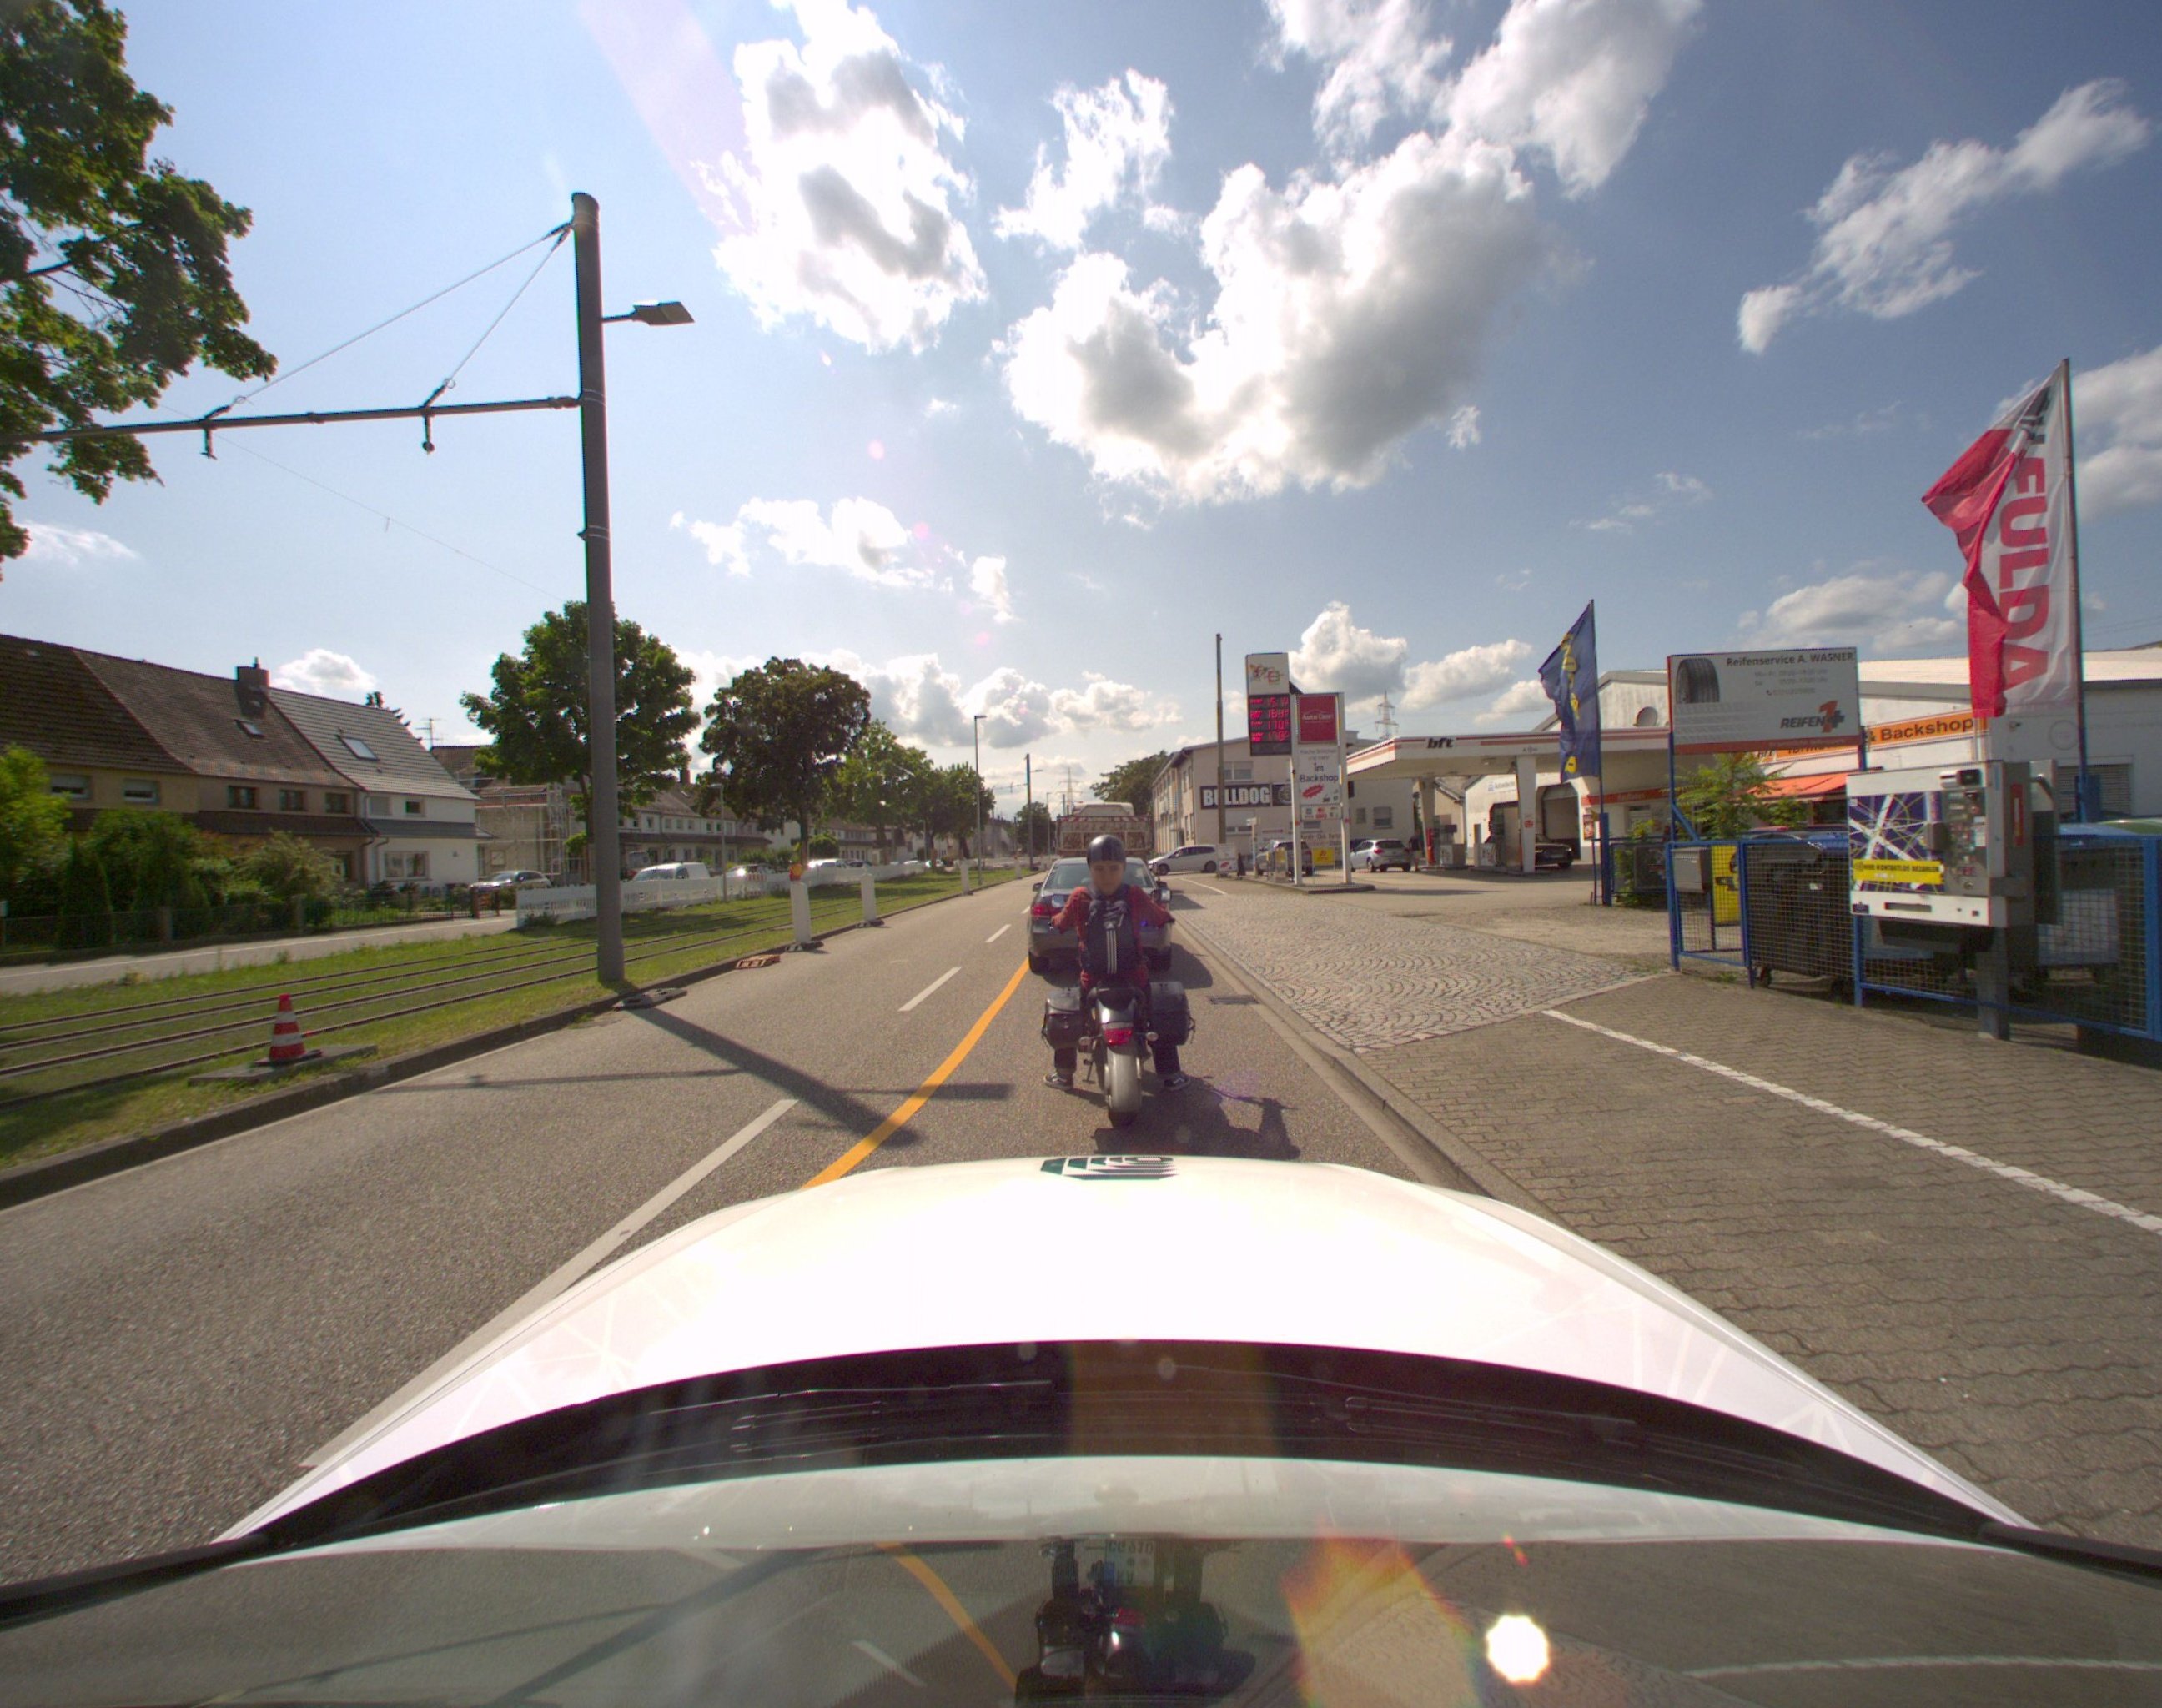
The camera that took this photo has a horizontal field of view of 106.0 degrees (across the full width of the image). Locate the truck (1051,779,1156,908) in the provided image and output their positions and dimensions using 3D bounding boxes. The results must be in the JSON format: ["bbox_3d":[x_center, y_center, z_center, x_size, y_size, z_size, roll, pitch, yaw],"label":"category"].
[{"bbox_3d":[0.723,-0.289,25.503,2.628,3.296,8.059,-2,0,2],"label":"truck"}]

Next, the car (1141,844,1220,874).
[{"bbox_3d":[5.732,0.289,47.018,4.225,1.543,1.669,-2,0,-7],"label":"car"}]

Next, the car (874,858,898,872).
[{"bbox_3d":[-25.165,1.402,105.206,1.769,1.722,4.130,-2,0,2],"label":"car"}]

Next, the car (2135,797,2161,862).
[{"bbox_3d":[26.521,-0.637,18.004,4.180,1.463,1.587,-2,0,2],"label":"car"}]

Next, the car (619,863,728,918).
[{"bbox_3d":[-15.447,1.314,31.158,1.769,1.821,4.366,-2,0,2],"label":"car"}]

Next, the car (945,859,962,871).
[{"bbox_3d":[-19.638,1.636,125.920,1.769,1.722,4.130,-2,0,2],"label":"car"}]

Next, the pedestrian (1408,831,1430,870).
[{"bbox_3d":[14.647,-0.132,35.321,0.701,1.656,0.551,-2,0,37],"label":"pedestrian"}]

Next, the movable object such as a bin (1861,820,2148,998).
[{"bbox_3d":[8.079,0.443,7.221,1.104,1.396,1.244,-2,0,1],"label":"movable object such as a bin"}]

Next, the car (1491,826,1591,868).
[{"bbox_3d":[18.138,-0.258,32.319,1.800,1.503,3.833,-2,0,0],"label":"car"}]

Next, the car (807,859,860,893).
[{"bbox_3d":[-15.068,1.327,49.864,1.769,1.867,4.130,-2,0,2],"label":"car"}]

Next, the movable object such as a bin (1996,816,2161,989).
[{"bbox_3d":[9.482,0.373,7.133,1.397,1.396,1.338,-2,0,1],"label":"movable object such as a bin"}]

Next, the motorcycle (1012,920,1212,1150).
[{"bbox_3d":[0.200,1.023,5.447,0.975,0.897,2.654,-2,0,2],"label":"motorcycle"}]

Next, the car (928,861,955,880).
[{"bbox_3d":[-13.740,1.633,80.281,1.769,1.722,4.130,-2,0,2],"label":"car"}]

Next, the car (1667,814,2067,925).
[{"bbox_3d":[11.820,0.228,12.523,4.249,1.415,1.677,-3,0,7],"label":"car"}]

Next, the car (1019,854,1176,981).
[{"bbox_3d":[0.254,0.740,11.451,1.816,1.452,4.002,0,0,2],"label":"car"}]

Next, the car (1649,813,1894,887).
[{"bbox_3d":[15.769,-0.090,18.760,4.180,1.463,1.587,-2,0,2],"label":"car"}]

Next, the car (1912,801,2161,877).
[{"bbox_3d":[21.518,-0.341,18.168,4.180,1.463,1.587,-2,0,2],"label":"car"}]

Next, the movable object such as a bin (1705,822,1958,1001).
[{"bbox_3d":[6.685,0.476,7.361,1.104,1.436,1.244,-2,0,1],"label":"movable object such as a bin"}]

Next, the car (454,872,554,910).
[{"bbox_3d":[-27.442,1.724,38.897,1.769,1.519,4.002,-2,0,2],"label":"car"}]

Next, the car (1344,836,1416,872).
[{"bbox_3d":[13.472,-0.009,36.922,1.800,1.503,3.832,-2,0,-1],"label":"car"}]

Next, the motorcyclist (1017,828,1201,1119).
[{"bbox_3d":[0.175,0.674,5.143,0.975,1.602,1.088,-2,0,1],"label":"motorcyclist"}]

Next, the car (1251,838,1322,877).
[{"bbox_3d":[9.112,0.150,36.455,1.665,1.562,4.235,-2,0,-6],"label":"car"}]

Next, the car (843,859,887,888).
[{"bbox_3d":[-14.809,1.335,56.041,1.769,1.805,4.130,-2,0,2],"label":"car"}]

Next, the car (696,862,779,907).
[{"bbox_3d":[-15.415,1.323,36.802,1.769,1.774,4.230,-2,0,2],"label":"car"}]

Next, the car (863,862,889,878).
[{"bbox_3d":[-24.393,1.839,97.045,1.769,1.722,4.130,-2,0,2],"label":"car"}]
